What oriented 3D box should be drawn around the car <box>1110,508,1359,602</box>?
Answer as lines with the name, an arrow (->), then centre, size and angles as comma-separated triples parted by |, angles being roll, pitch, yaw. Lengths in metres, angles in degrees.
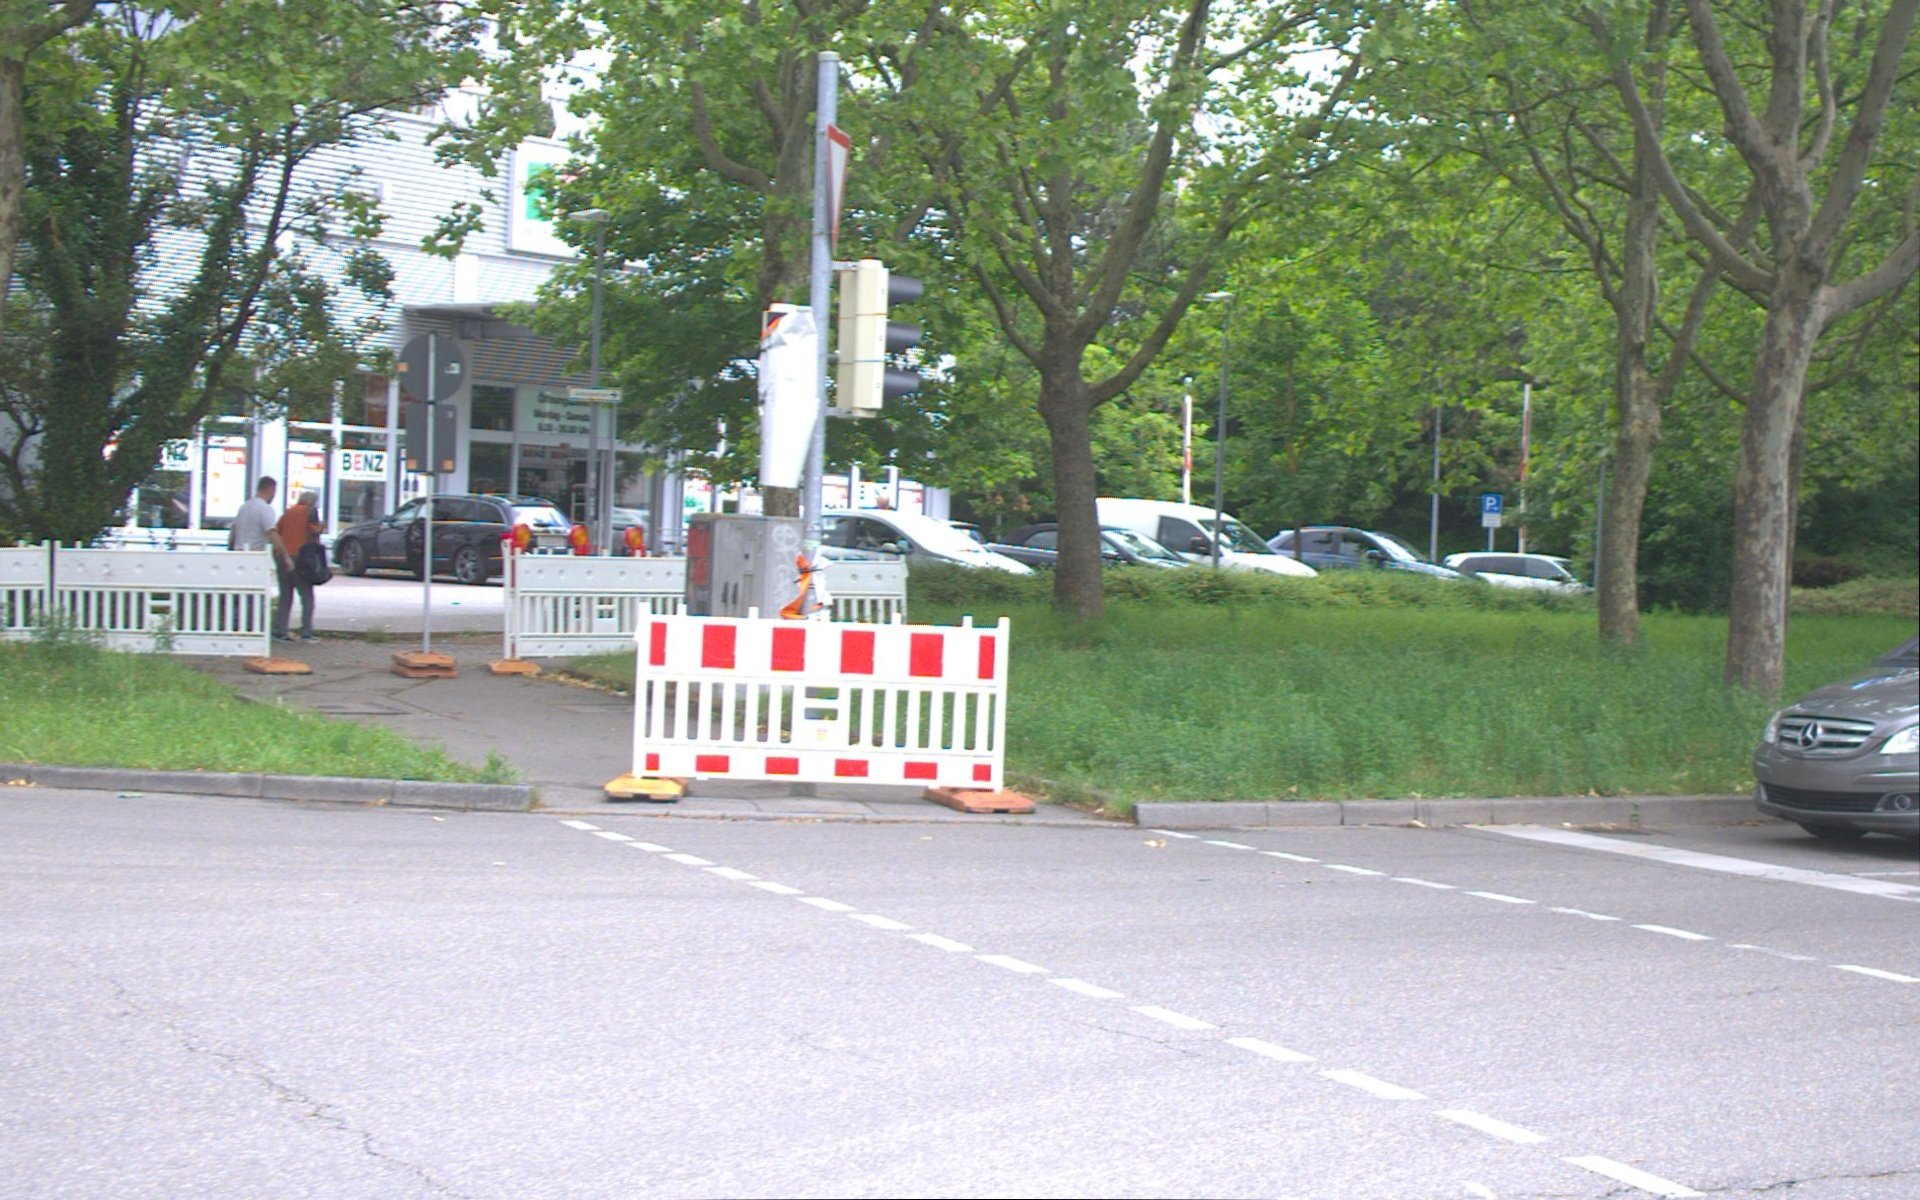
car -> 4.500, -0.753, 56.640 | 3.888, 1.460, 1.481 | 2, 0, 38

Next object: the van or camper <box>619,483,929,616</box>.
van or camper -> -2.546, -0.704, 46.460 | 3.997, 1.678, 1.842 | 2, 2, 41

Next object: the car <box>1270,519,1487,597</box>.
car -> 7.125, -0.718, 58.618 | 3.245, 1.251, 1.691 | 2, 0, 37

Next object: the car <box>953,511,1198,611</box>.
car -> 1.706, -0.586, 51.307 | 3.405, 1.399, 1.481 | 2, 0, 39

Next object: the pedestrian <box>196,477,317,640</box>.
pedestrian -> -6.975, -0.409, 34.095 | 0.794, 1.581, 0.850 | 1, 0, 24

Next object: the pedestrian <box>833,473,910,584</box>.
pedestrian -> -1.297, -1.040, 50.091 | 0.793, 1.581, 0.799 | 1, 0, -30

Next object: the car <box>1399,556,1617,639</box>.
car -> 10.451, -0.056, 65.646 | 3.742, 1.495, 1.730 | 2, 0, 42

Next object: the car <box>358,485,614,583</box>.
car -> -7.714, -1.079, 55.724 | 4.265, 1.495, 1.730 | 2, 0, 42

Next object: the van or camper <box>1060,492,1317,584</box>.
van or camper -> 3.566, -0.978, 53.948 | 3.771, 1.352, 1.515 | 2, 0, 35

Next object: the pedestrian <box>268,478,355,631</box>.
pedestrian -> -6.647, -0.465, 35.252 | 0.770, 1.533, 0.655 | 1, 0, -5

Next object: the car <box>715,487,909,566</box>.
car -> -2.755, -1.369, 63.830 | 3.405, 1.399, 1.481 | 2, 0, 37

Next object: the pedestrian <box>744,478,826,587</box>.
pedestrian -> -3.089, -1.187, 60.647 | 1.072, 1.864, 1.060 | 1, 0, -26

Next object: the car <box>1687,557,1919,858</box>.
car -> 6.560, 0.604, 19.673 | 4.396, 1.581, 1.773 | 1, 0, -21
